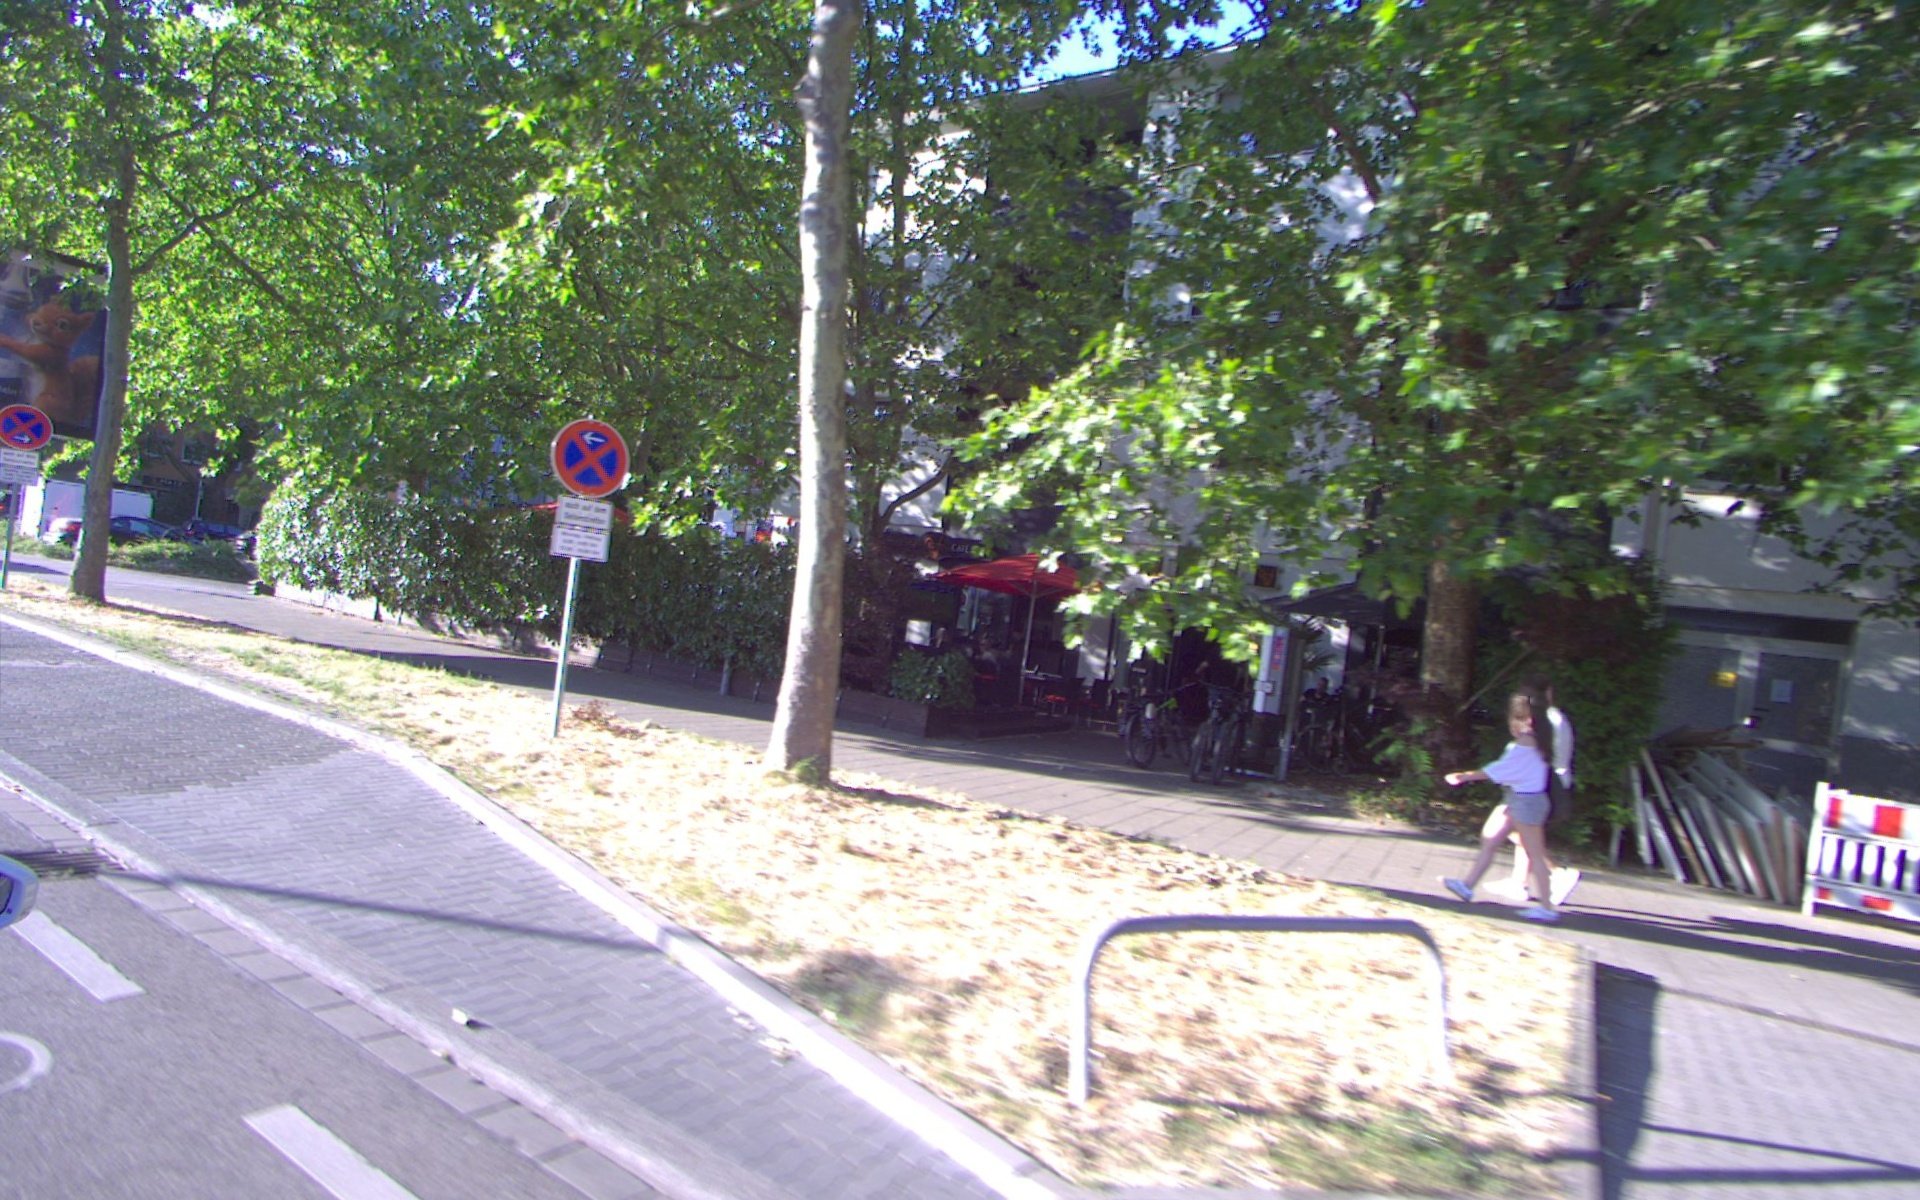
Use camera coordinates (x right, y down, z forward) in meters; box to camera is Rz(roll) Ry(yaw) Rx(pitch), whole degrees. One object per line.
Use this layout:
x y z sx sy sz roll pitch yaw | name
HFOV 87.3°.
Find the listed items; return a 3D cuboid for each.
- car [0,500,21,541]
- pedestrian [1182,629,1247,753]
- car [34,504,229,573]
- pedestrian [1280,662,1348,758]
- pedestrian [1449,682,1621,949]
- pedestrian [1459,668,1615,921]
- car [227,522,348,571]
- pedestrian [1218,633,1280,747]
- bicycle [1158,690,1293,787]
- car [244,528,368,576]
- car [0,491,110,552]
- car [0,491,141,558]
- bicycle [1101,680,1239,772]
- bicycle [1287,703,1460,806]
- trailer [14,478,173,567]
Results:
-41.031 -3.490 40.829 1.679 1.607 3.925 6 -1 33 | car
4.142 1.461 16.407 0.687 1.895 0.742 7 0 5 | pedestrian
-23.520 -1.704 28.698 1.679 1.352 3.923 6 -1 34 | car
5.650 1.752 16.063 0.690 1.397 0.739 7 0 36 | pedestrian
3.931 1.416 6.931 0.802 1.591 0.792 7 0 29 | pedestrian
4.345 1.416 7.625 0.802 1.687 0.791 7 0 29 | pedestrian
-31.609 -2.496 47.401 1.842 1.662 4.282 7 -1 33 | car
5.146 1.586 17.870 0.689 1.895 0.740 7 0 30 | pedestrian
3.395 1.713 12.692 0.654 1.036 2.373 7 -1 39 | bicycle
-29.786 -2.174 45.923 1.842 1.663 4.279 6 0 33 | car
-31.875 -2.768 34.384 1.679 1.657 3.925 6 -1 33 | car
-29.866 -2.500 33.237 1.679 1.656 3.925 6 -1 33 | car
2.848 1.686 13.418 0.654 1.036 2.373 7 -2 40 | bicycle
5.316 1.972 13.046 1.926 0.982 0.650 7 0 20 | bicycle
-25.776 -2.279 29.999 1.849 2.094 3.067 7 -1 34 | trailer
